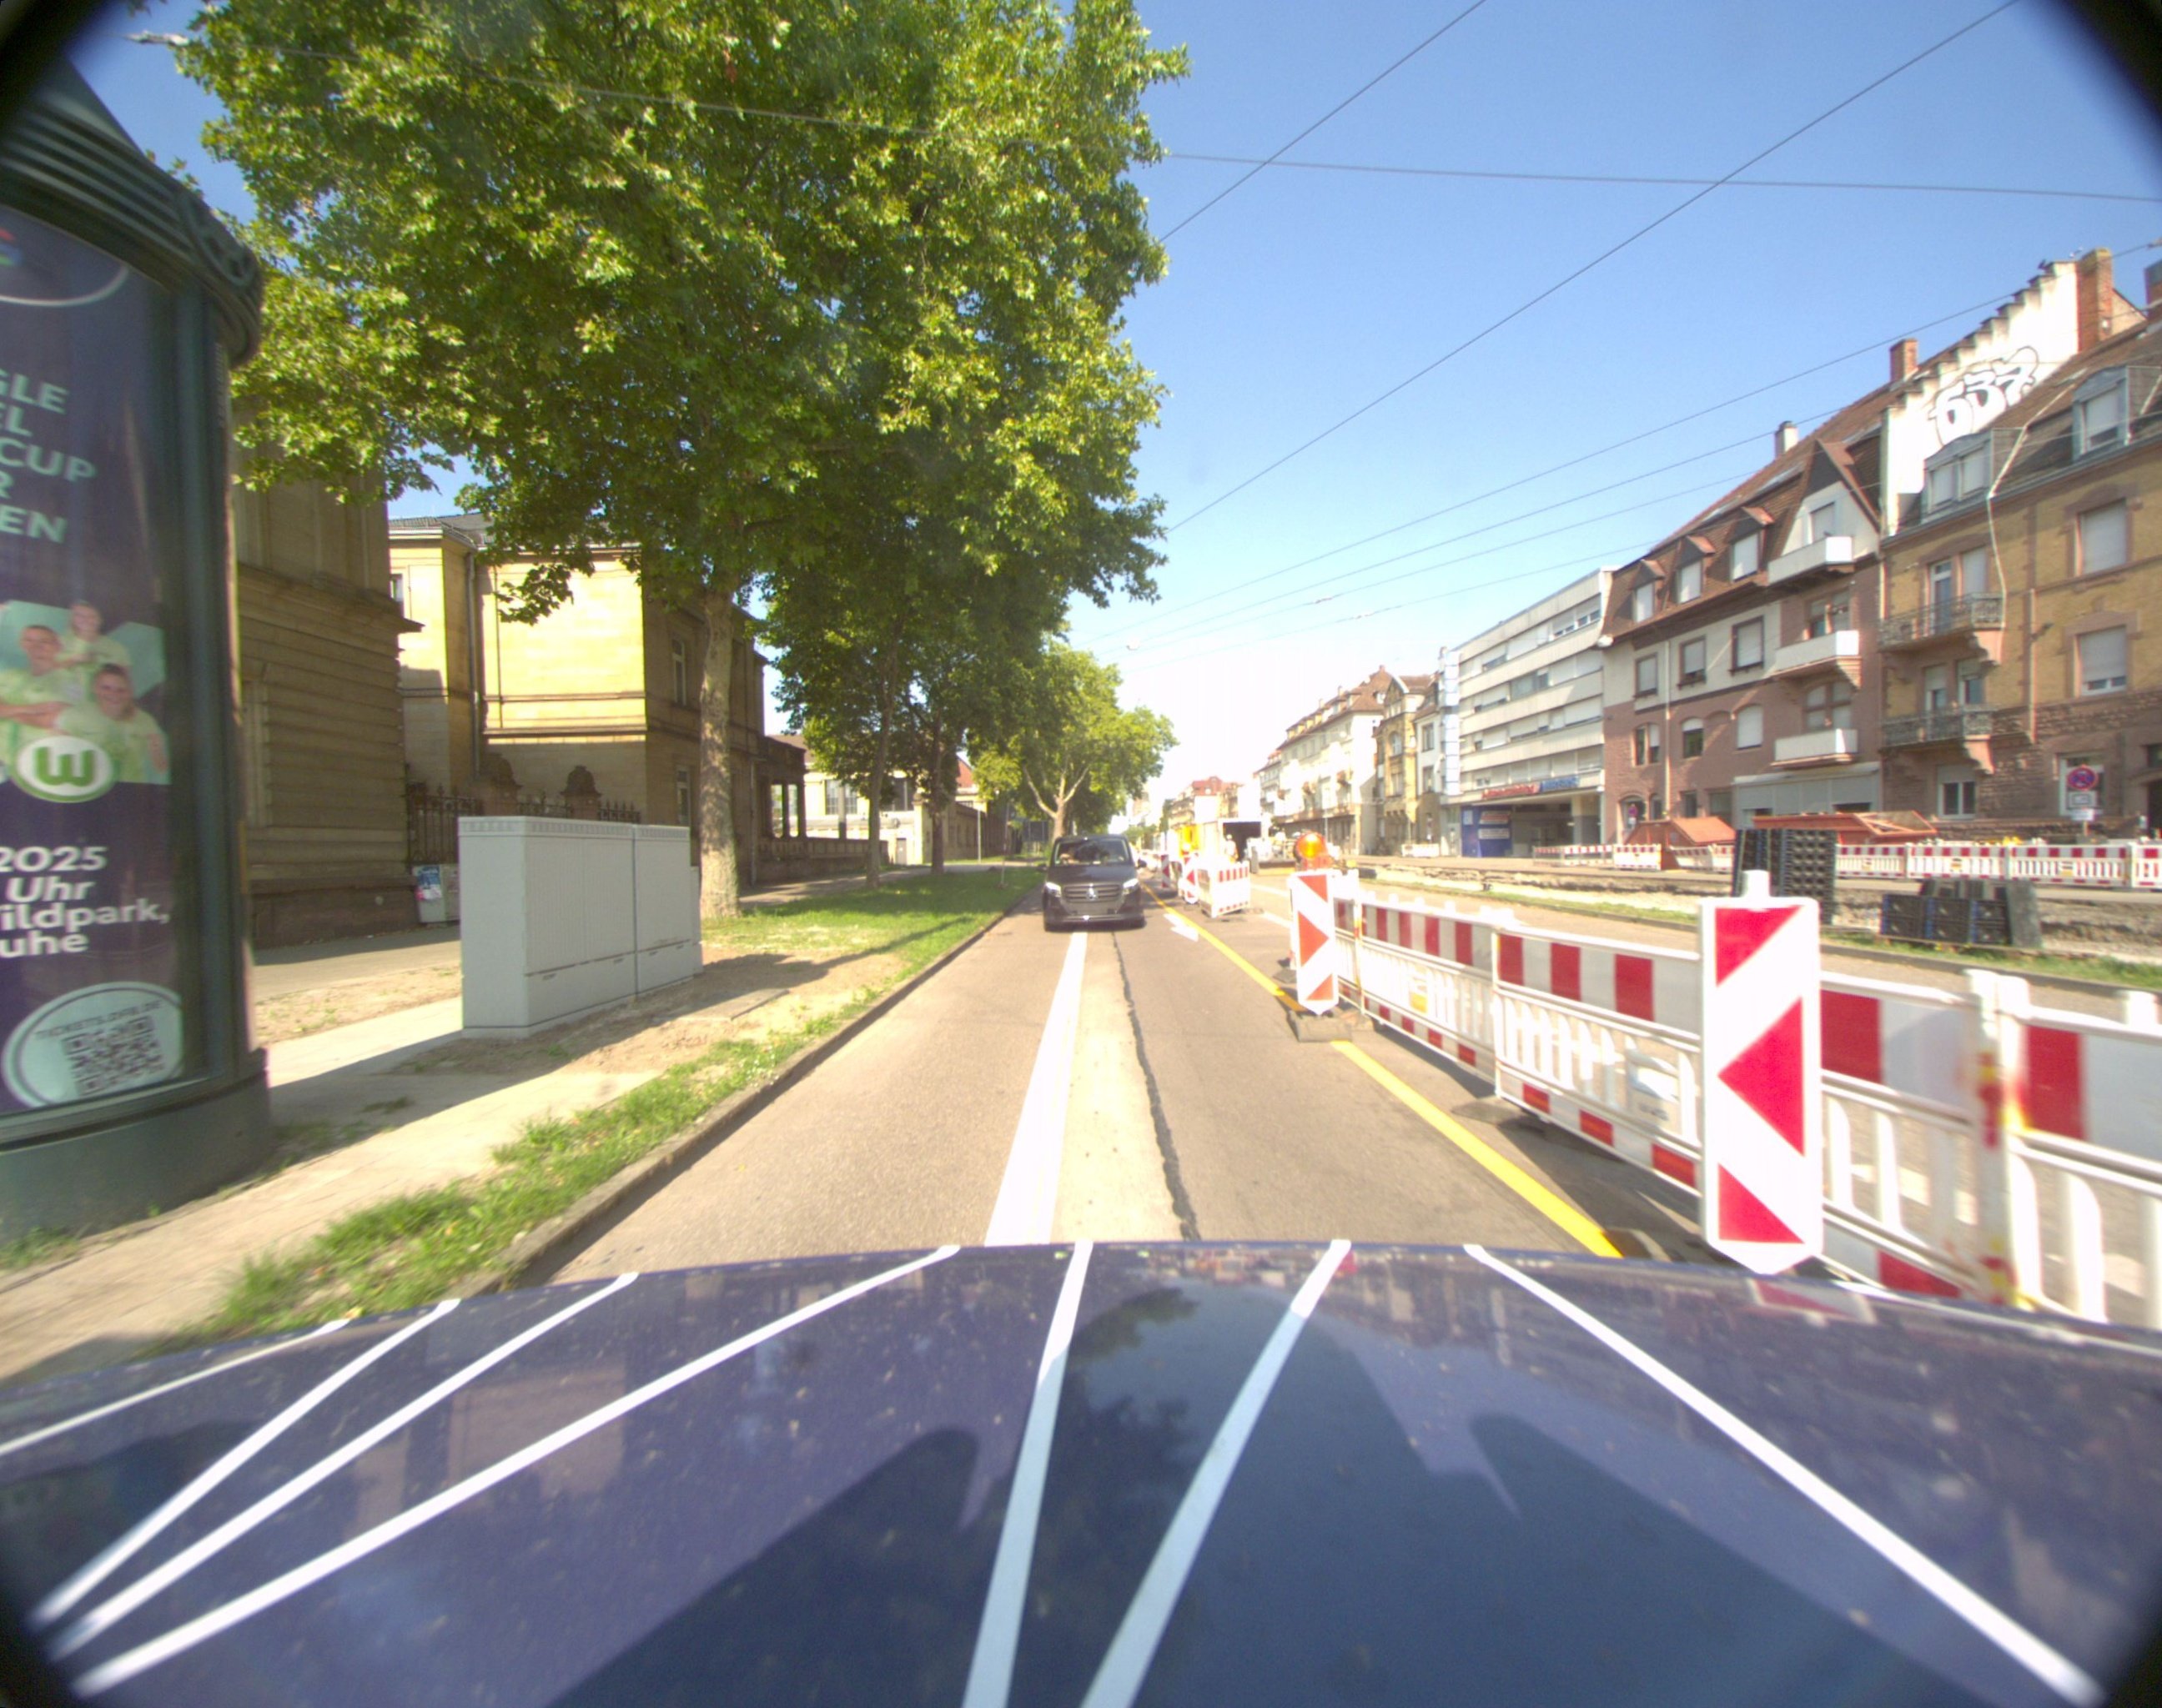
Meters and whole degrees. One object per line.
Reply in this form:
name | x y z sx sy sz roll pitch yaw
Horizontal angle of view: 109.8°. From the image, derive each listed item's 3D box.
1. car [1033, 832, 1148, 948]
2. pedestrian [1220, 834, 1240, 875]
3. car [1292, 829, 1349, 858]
car | 0.215 0.563 14.839 1.853 1.875 4.178 -2 1 1
pedestrian | 6.640 0.017 33.860 0.803 1.787 0.596 0 2 4
car | 18.865 -0.865 60.323 2.366 2.123 7.120 -1 1 1
